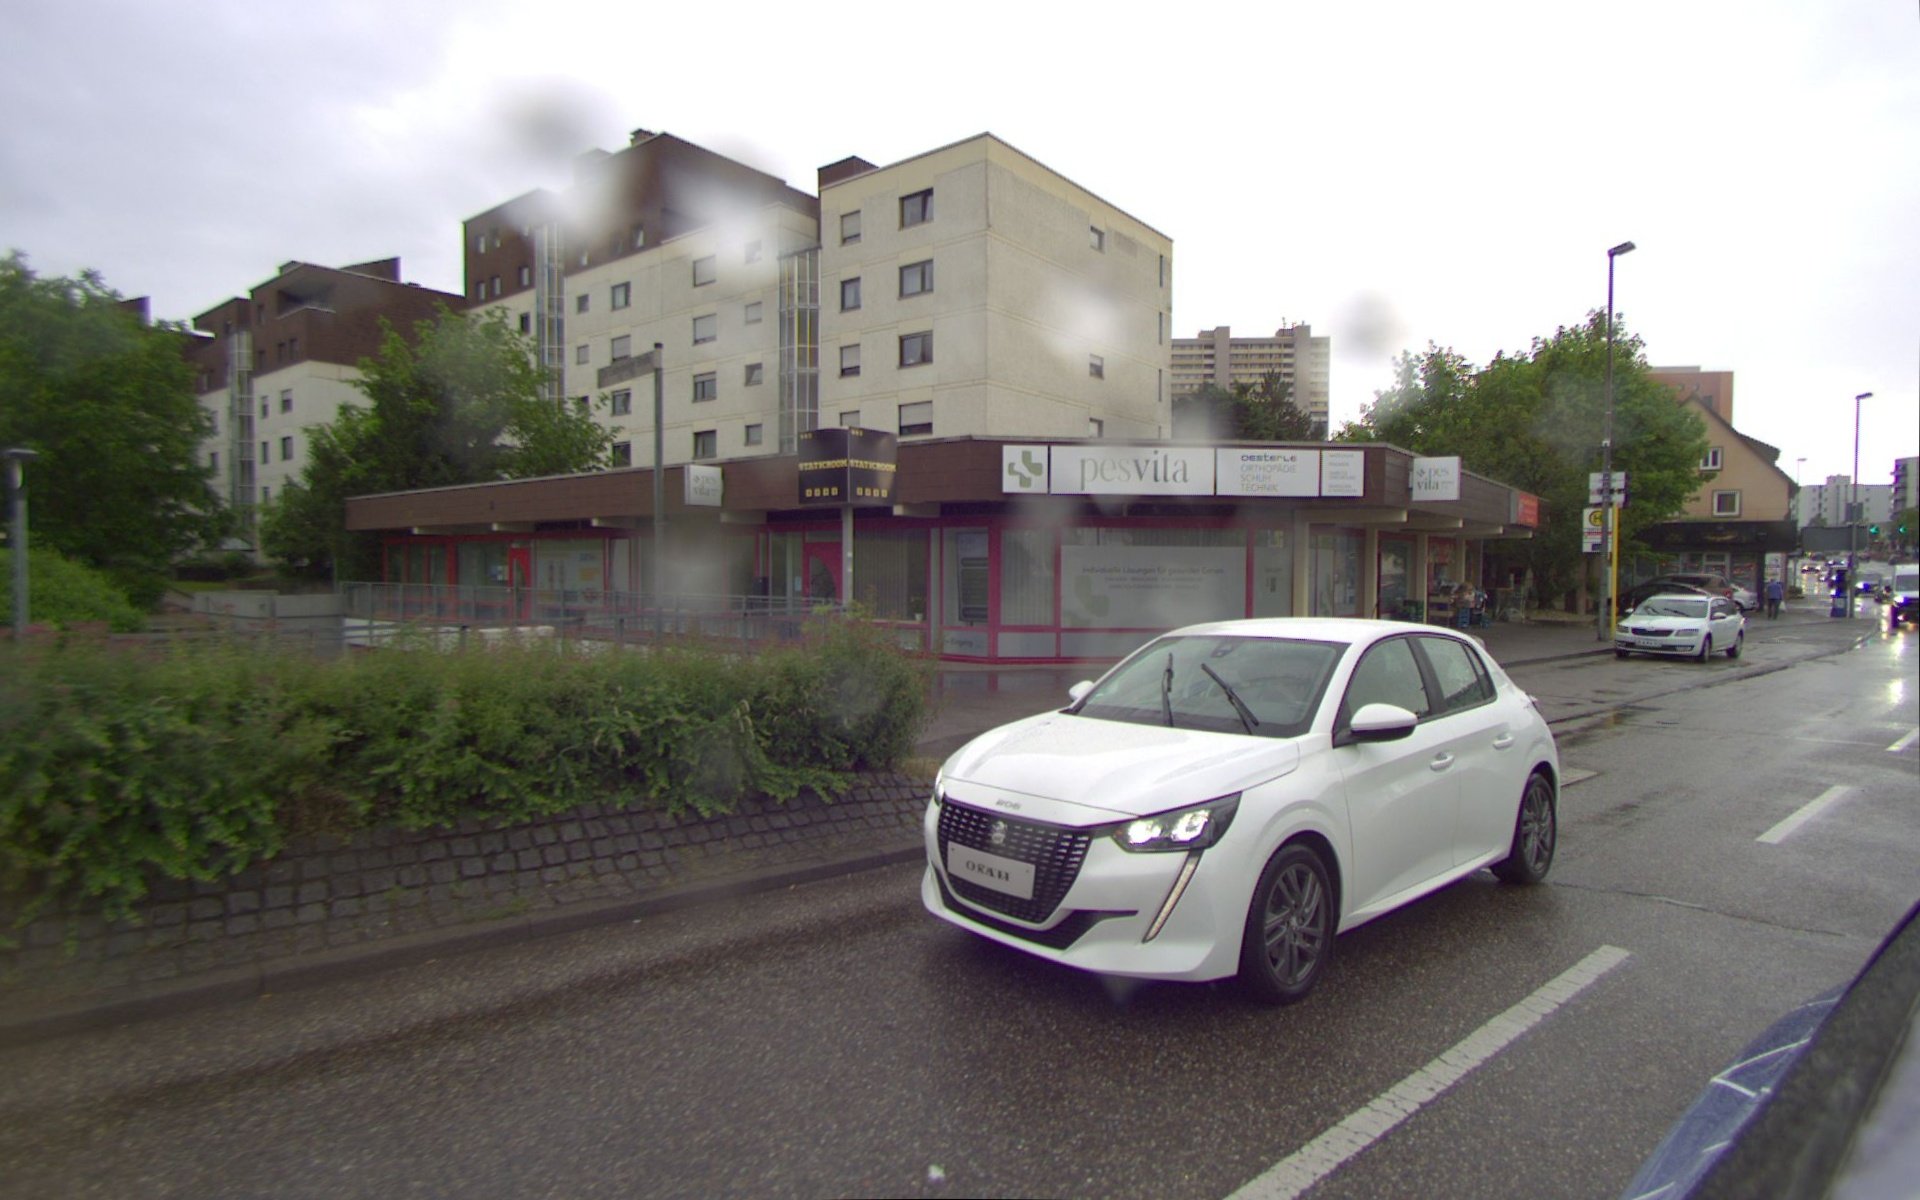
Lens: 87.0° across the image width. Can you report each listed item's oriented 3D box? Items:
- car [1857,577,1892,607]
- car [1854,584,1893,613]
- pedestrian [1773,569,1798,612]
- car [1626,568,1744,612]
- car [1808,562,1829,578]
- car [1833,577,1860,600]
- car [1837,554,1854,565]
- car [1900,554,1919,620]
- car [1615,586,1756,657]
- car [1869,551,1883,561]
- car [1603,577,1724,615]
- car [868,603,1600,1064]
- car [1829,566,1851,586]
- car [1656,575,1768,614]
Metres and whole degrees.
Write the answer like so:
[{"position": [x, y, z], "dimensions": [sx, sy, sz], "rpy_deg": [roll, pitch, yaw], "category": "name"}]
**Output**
[{"position": [64.911, -0.579, 71.827], "dimensions": [1.716, 2.025, 3.775], "rpy_deg": [1, 0, 44], "category": "car"}, {"position": [57.836, -0.135, 64.081], "dimensions": [1.716, 1.772, 3.775], "rpy_deg": [1, 1, 44], "category": "car"}, {"position": [35.069, -0.406, 42.987], "dimensions": [0.740, 1.804, 0.749], "rpy_deg": [0, 0, -44], "category": "pedestrian"}, {"position": [31.106, -0.463, 43.465], "dimensions": [3.981, 1.802, 1.857], "rpy_deg": [2, 1, 39], "category": "car"}, {"position": [113.395, -3.975, 133.715], "dimensions": [1.992, 2.039, 3.939], "rpy_deg": [0, 1, 42], "category": "car"}, {"position": [78.288, -1.001, 89.400], "dimensions": [1.714, 2.025, 3.780], "rpy_deg": [1, 0, 40], "category": "car"}, {"position": [137.494, -6.304, 157.129], "dimensions": [1.657, 1.655, 3.753], "rpy_deg": [1, 0, 38], "category": "car"}, {"position": [39.686, -0.549, 40.825], "dimensions": [6.021, 2.549, 2.194], "rpy_deg": [-1, 1, -43], "category": "car"}, {"position": [16.929, 0.446, 23.562], "dimensions": [3.929, 1.509, 1.787], "rpy_deg": [0, 0, -40], "category": "car"}, {"position": [160.916, -7.671, 177.811], "dimensions": [1.659, 1.655, 3.749], "rpy_deg": [1, 0, 41], "category": "car"}, {"position": [29.018, -0.195, 41.776], "dimensions": [3.981, 1.445, 1.857], "rpy_deg": [2, 1, 39], "category": "car"}, {"position": [1.656, 0.750, 5.190], "dimensions": [4.043, 1.433, 1.665], "rpy_deg": [0, 1, -41], "category": "car"}, {"position": [93.941, -2.527, 108.065], "dimensions": [1.714, 2.025, 3.780], "rpy_deg": [1, 0, 40], "category": "car"}, {"position": [33.797, -0.268, 45.532], "dimensions": [3.981, 1.614, 1.857], "rpy_deg": [2, 0, 40], "category": "car"}]
